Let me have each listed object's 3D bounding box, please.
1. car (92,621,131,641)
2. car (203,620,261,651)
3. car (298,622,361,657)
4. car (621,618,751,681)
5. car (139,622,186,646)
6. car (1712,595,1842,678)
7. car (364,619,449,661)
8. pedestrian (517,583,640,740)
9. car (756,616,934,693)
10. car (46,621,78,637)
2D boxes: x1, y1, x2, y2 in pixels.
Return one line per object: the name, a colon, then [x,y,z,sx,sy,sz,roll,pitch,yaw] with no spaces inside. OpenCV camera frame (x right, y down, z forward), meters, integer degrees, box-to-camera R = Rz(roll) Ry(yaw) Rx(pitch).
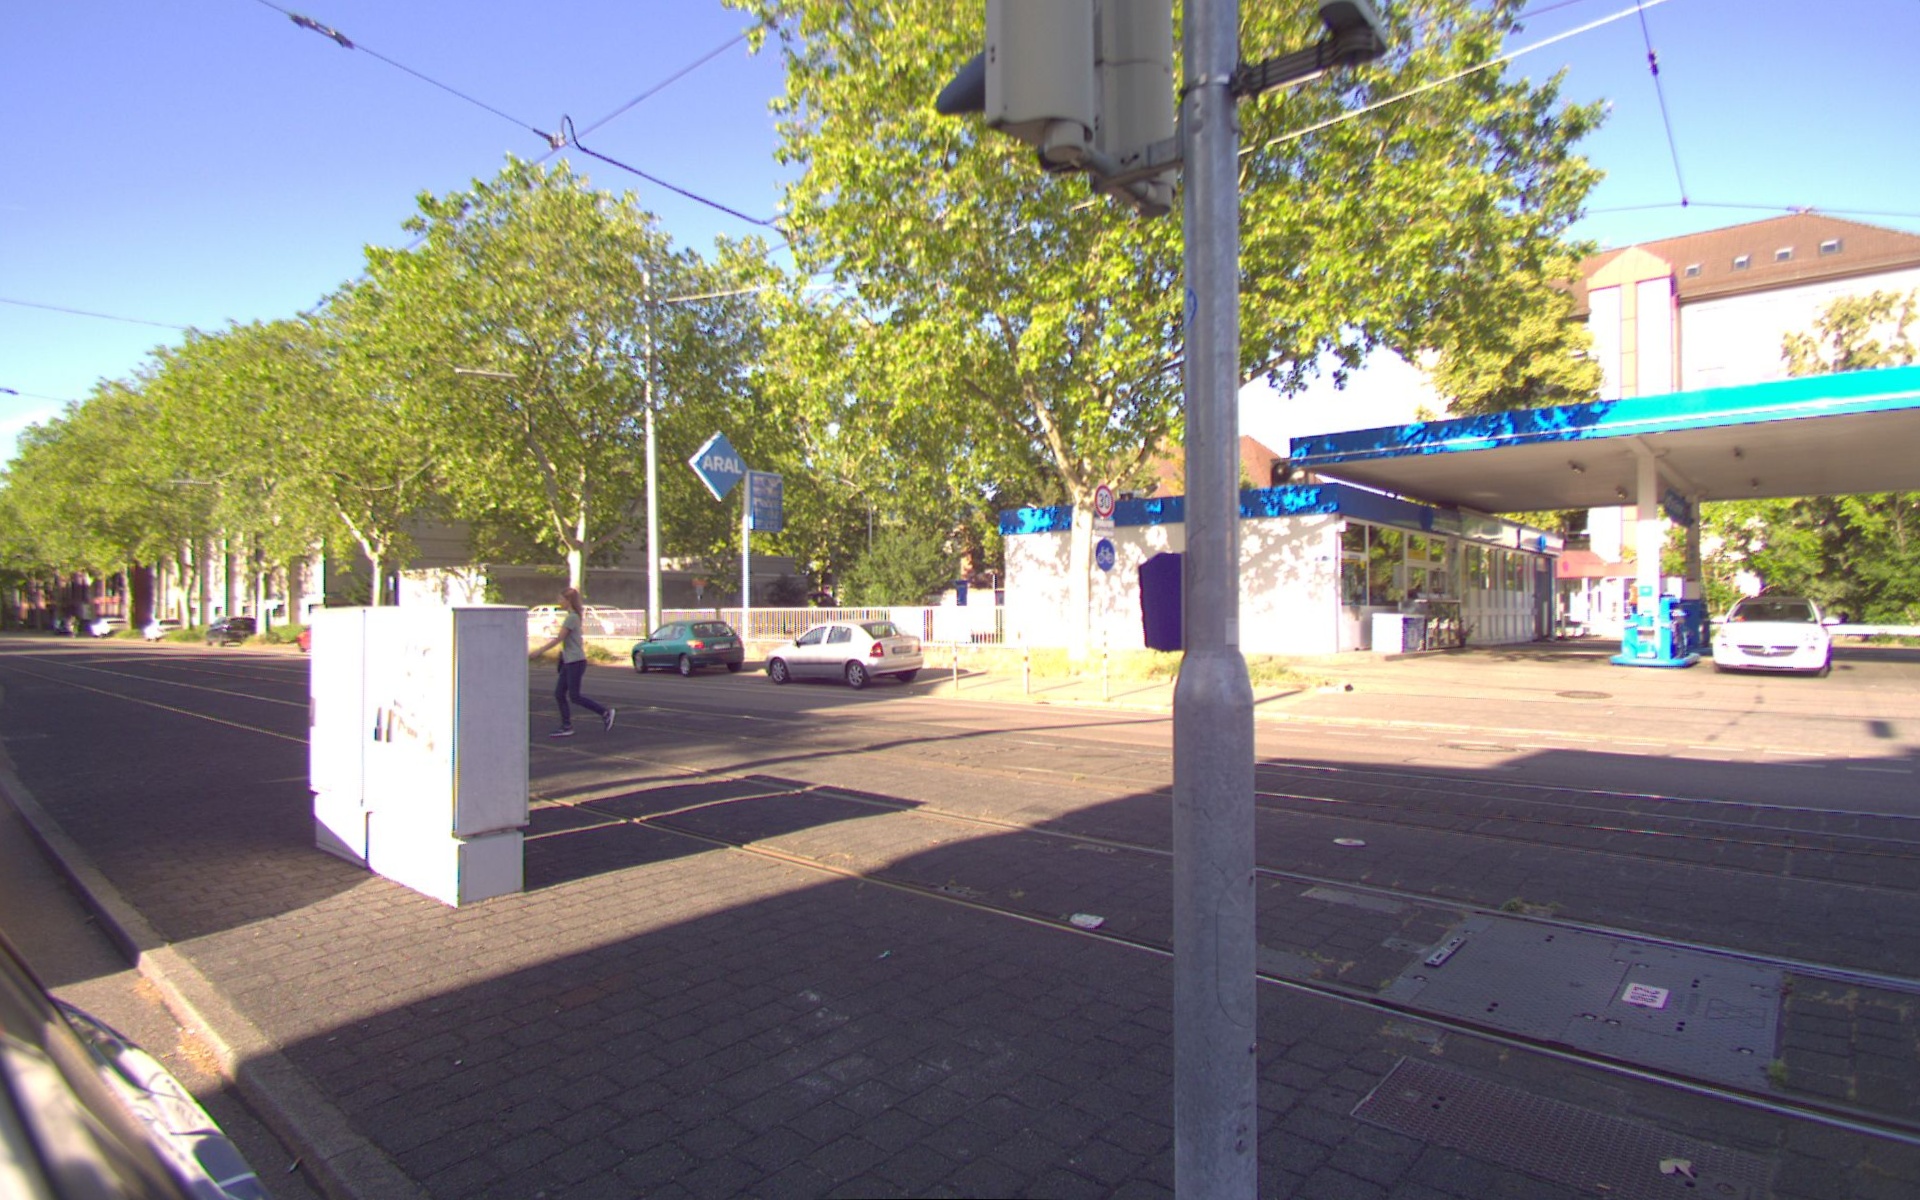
car: [-66.683,2.400,79.532,3.998,1.525,1.779,-1,-1,41]
car: [-40.754,1.952,56.592,3.998,1.674,1.779,-1,-1,41]
car: [-28.555,1.751,45.801,3.045,1.519,1.620,-1,-1,41]
car: [-7.328,1.278,26.933,3.519,1.475,1.670,-1,2,43]
car: [-53.720,2.264,68.166,3.998,1.509,1.779,-1,-1,41]
car: [16.027,0.676,19.909,1.812,1.453,3.947,-1,-1,39]
car: [-21.941,1.551,40.053,3.652,1.541,1.802,-1,-1,41]
pedestrian: [-4.199,0.657,11.180,1.083,1.674,0.695,-1,0,1]
car: [-2.630,1.160,22.664,3.965,1.475,1.771,-1,2,43]
car: [-85.322,2.729,96.120,3.998,1.525,1.779,-1,-1,41]
